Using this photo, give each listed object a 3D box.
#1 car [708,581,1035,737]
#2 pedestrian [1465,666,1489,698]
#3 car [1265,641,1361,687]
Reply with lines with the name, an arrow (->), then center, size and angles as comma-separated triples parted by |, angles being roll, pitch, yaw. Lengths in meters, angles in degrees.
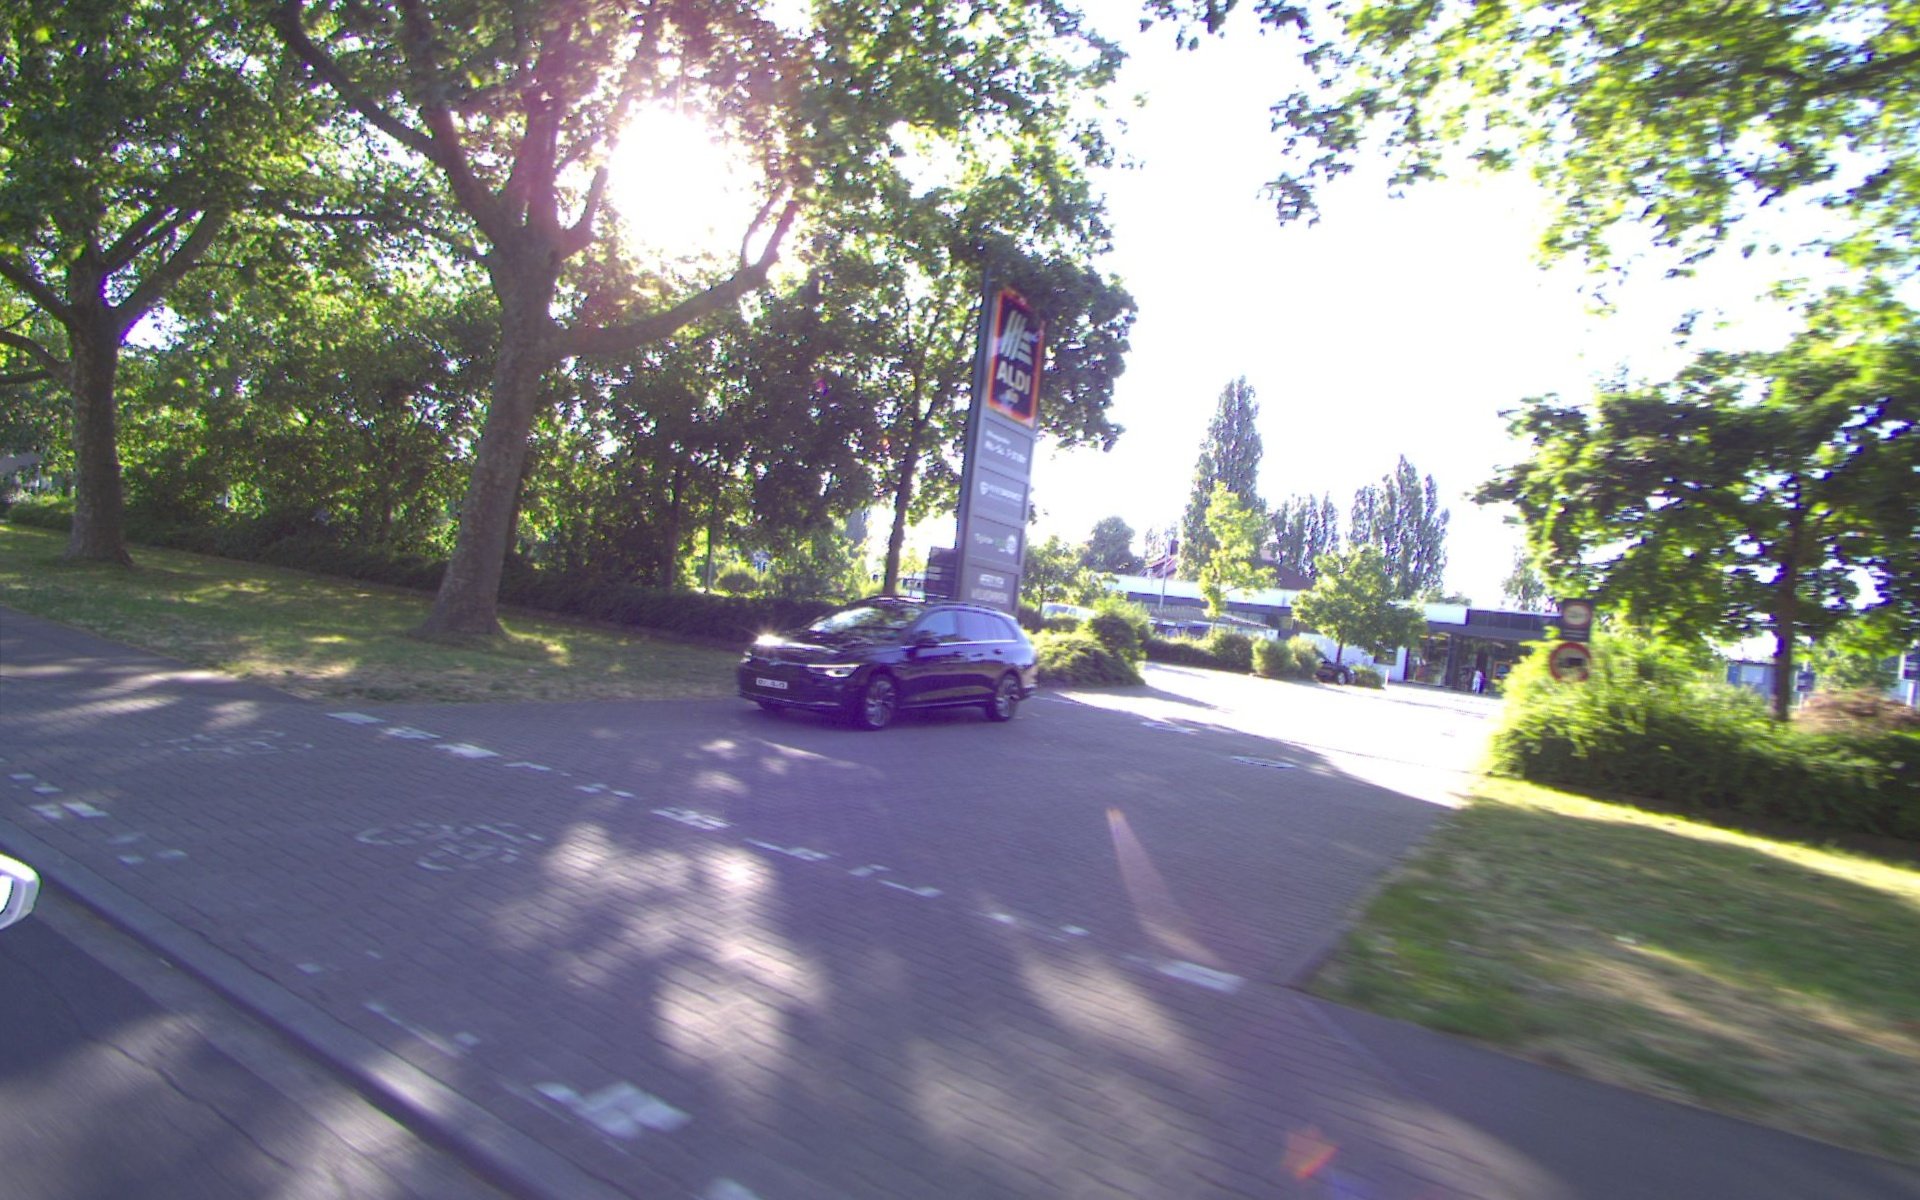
car -> -0.897, 0.737, 12.281 | 1.733, 1.461, 3.989 | 6, -1, 34
pedestrian -> 31.206, 4.924, 60.704 | 1.027, 1.757, 0.939 | 6, -2, 34
car -> 15.903, 2.881, 45.447 | 3.552, 1.558, 1.842 | 7, 0, -3
